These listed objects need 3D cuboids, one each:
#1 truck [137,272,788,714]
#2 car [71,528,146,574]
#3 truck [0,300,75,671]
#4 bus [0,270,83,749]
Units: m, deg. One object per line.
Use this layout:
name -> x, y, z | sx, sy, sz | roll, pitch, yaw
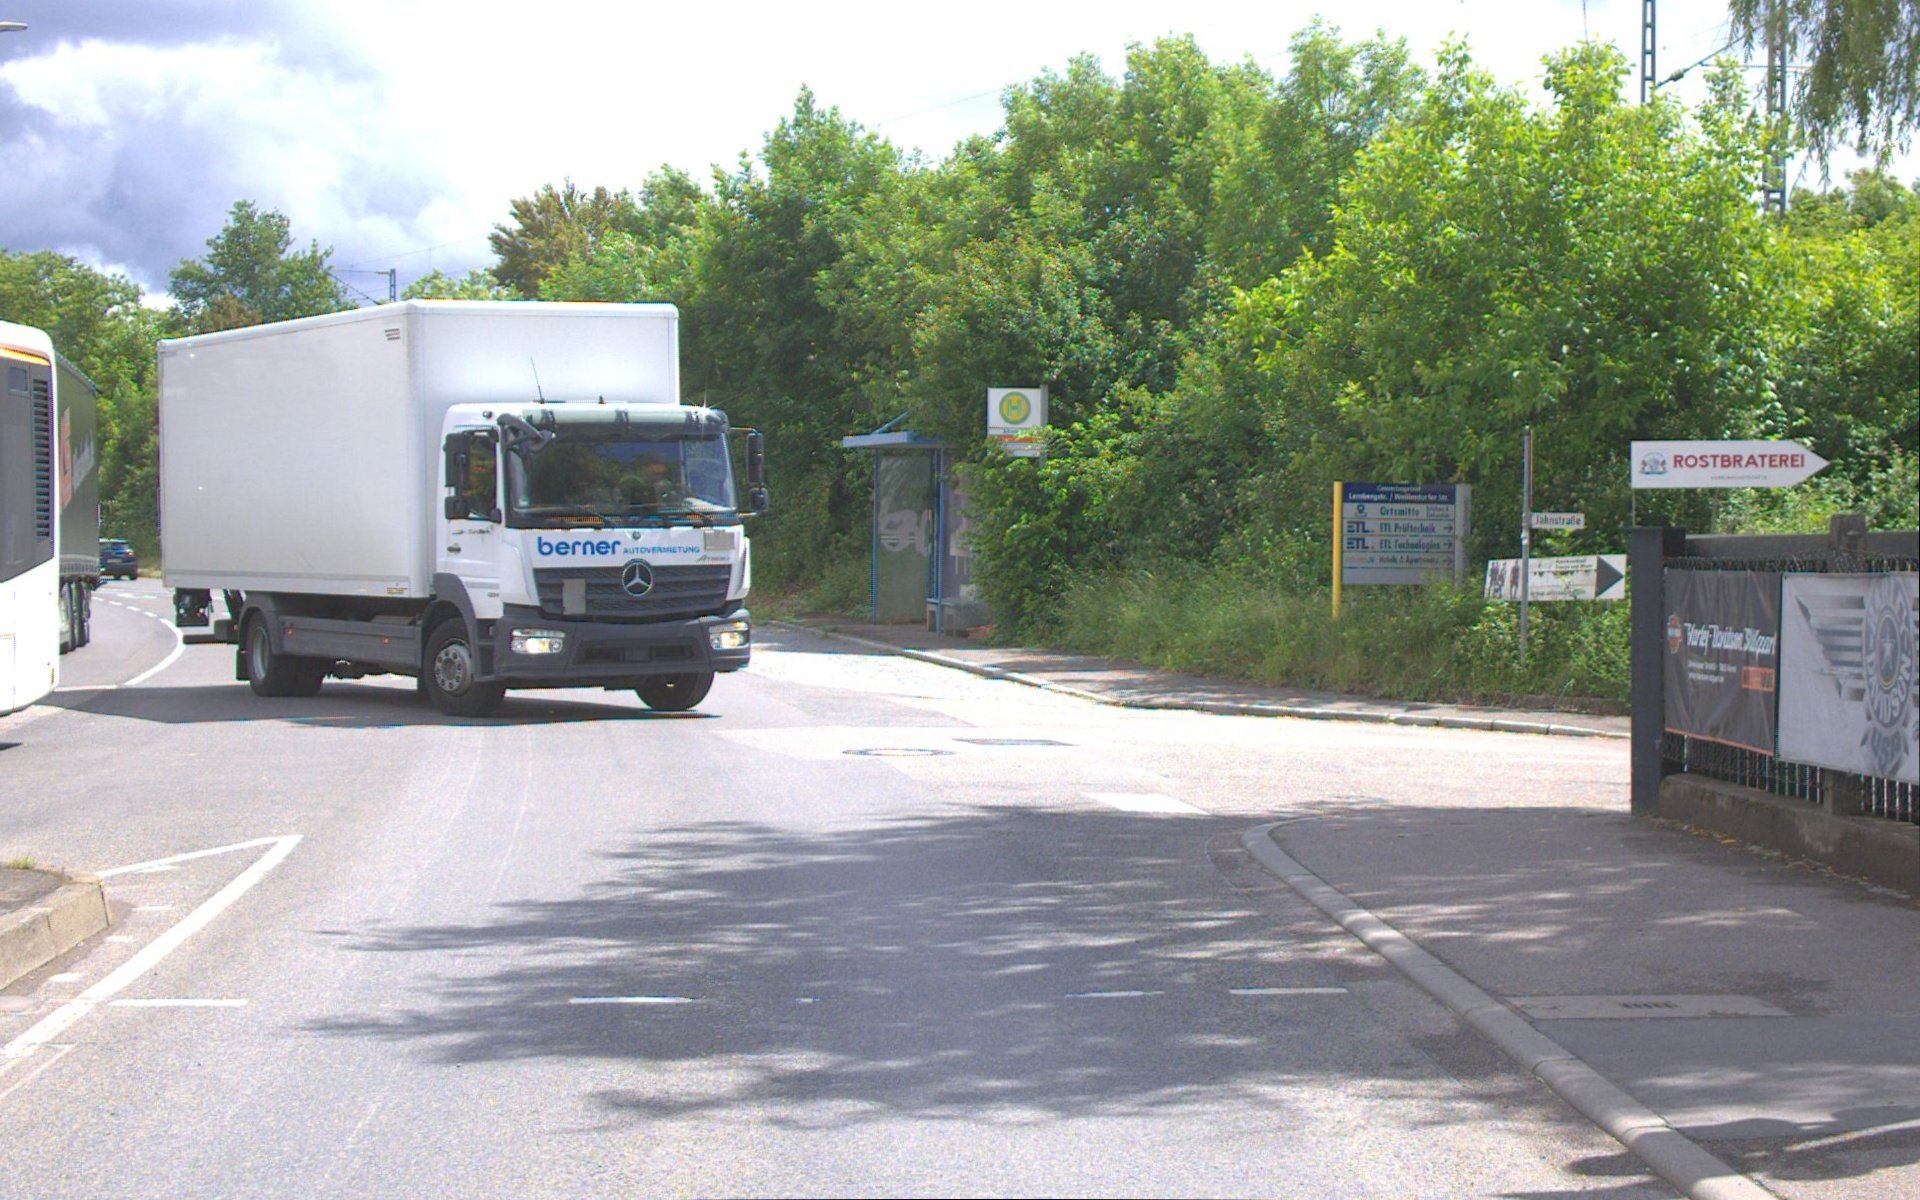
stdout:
truck -> -5.024, -0.952, 32.359 | 2.839, 3.528, 9.726 | 0, 1, -29
car -> -29.071, -1.697, 117.338 | 1.884, 1.503, 4.001 | 0, 1, -23
truck -> -12.192, -1.326, 40.159 | 2.428, 4.117, 9.152 | 2, 0, -8
bus -> -7.885, -0.557, 19.445 | 2.777, 3.255, 12.124 | -1, 1, 0
